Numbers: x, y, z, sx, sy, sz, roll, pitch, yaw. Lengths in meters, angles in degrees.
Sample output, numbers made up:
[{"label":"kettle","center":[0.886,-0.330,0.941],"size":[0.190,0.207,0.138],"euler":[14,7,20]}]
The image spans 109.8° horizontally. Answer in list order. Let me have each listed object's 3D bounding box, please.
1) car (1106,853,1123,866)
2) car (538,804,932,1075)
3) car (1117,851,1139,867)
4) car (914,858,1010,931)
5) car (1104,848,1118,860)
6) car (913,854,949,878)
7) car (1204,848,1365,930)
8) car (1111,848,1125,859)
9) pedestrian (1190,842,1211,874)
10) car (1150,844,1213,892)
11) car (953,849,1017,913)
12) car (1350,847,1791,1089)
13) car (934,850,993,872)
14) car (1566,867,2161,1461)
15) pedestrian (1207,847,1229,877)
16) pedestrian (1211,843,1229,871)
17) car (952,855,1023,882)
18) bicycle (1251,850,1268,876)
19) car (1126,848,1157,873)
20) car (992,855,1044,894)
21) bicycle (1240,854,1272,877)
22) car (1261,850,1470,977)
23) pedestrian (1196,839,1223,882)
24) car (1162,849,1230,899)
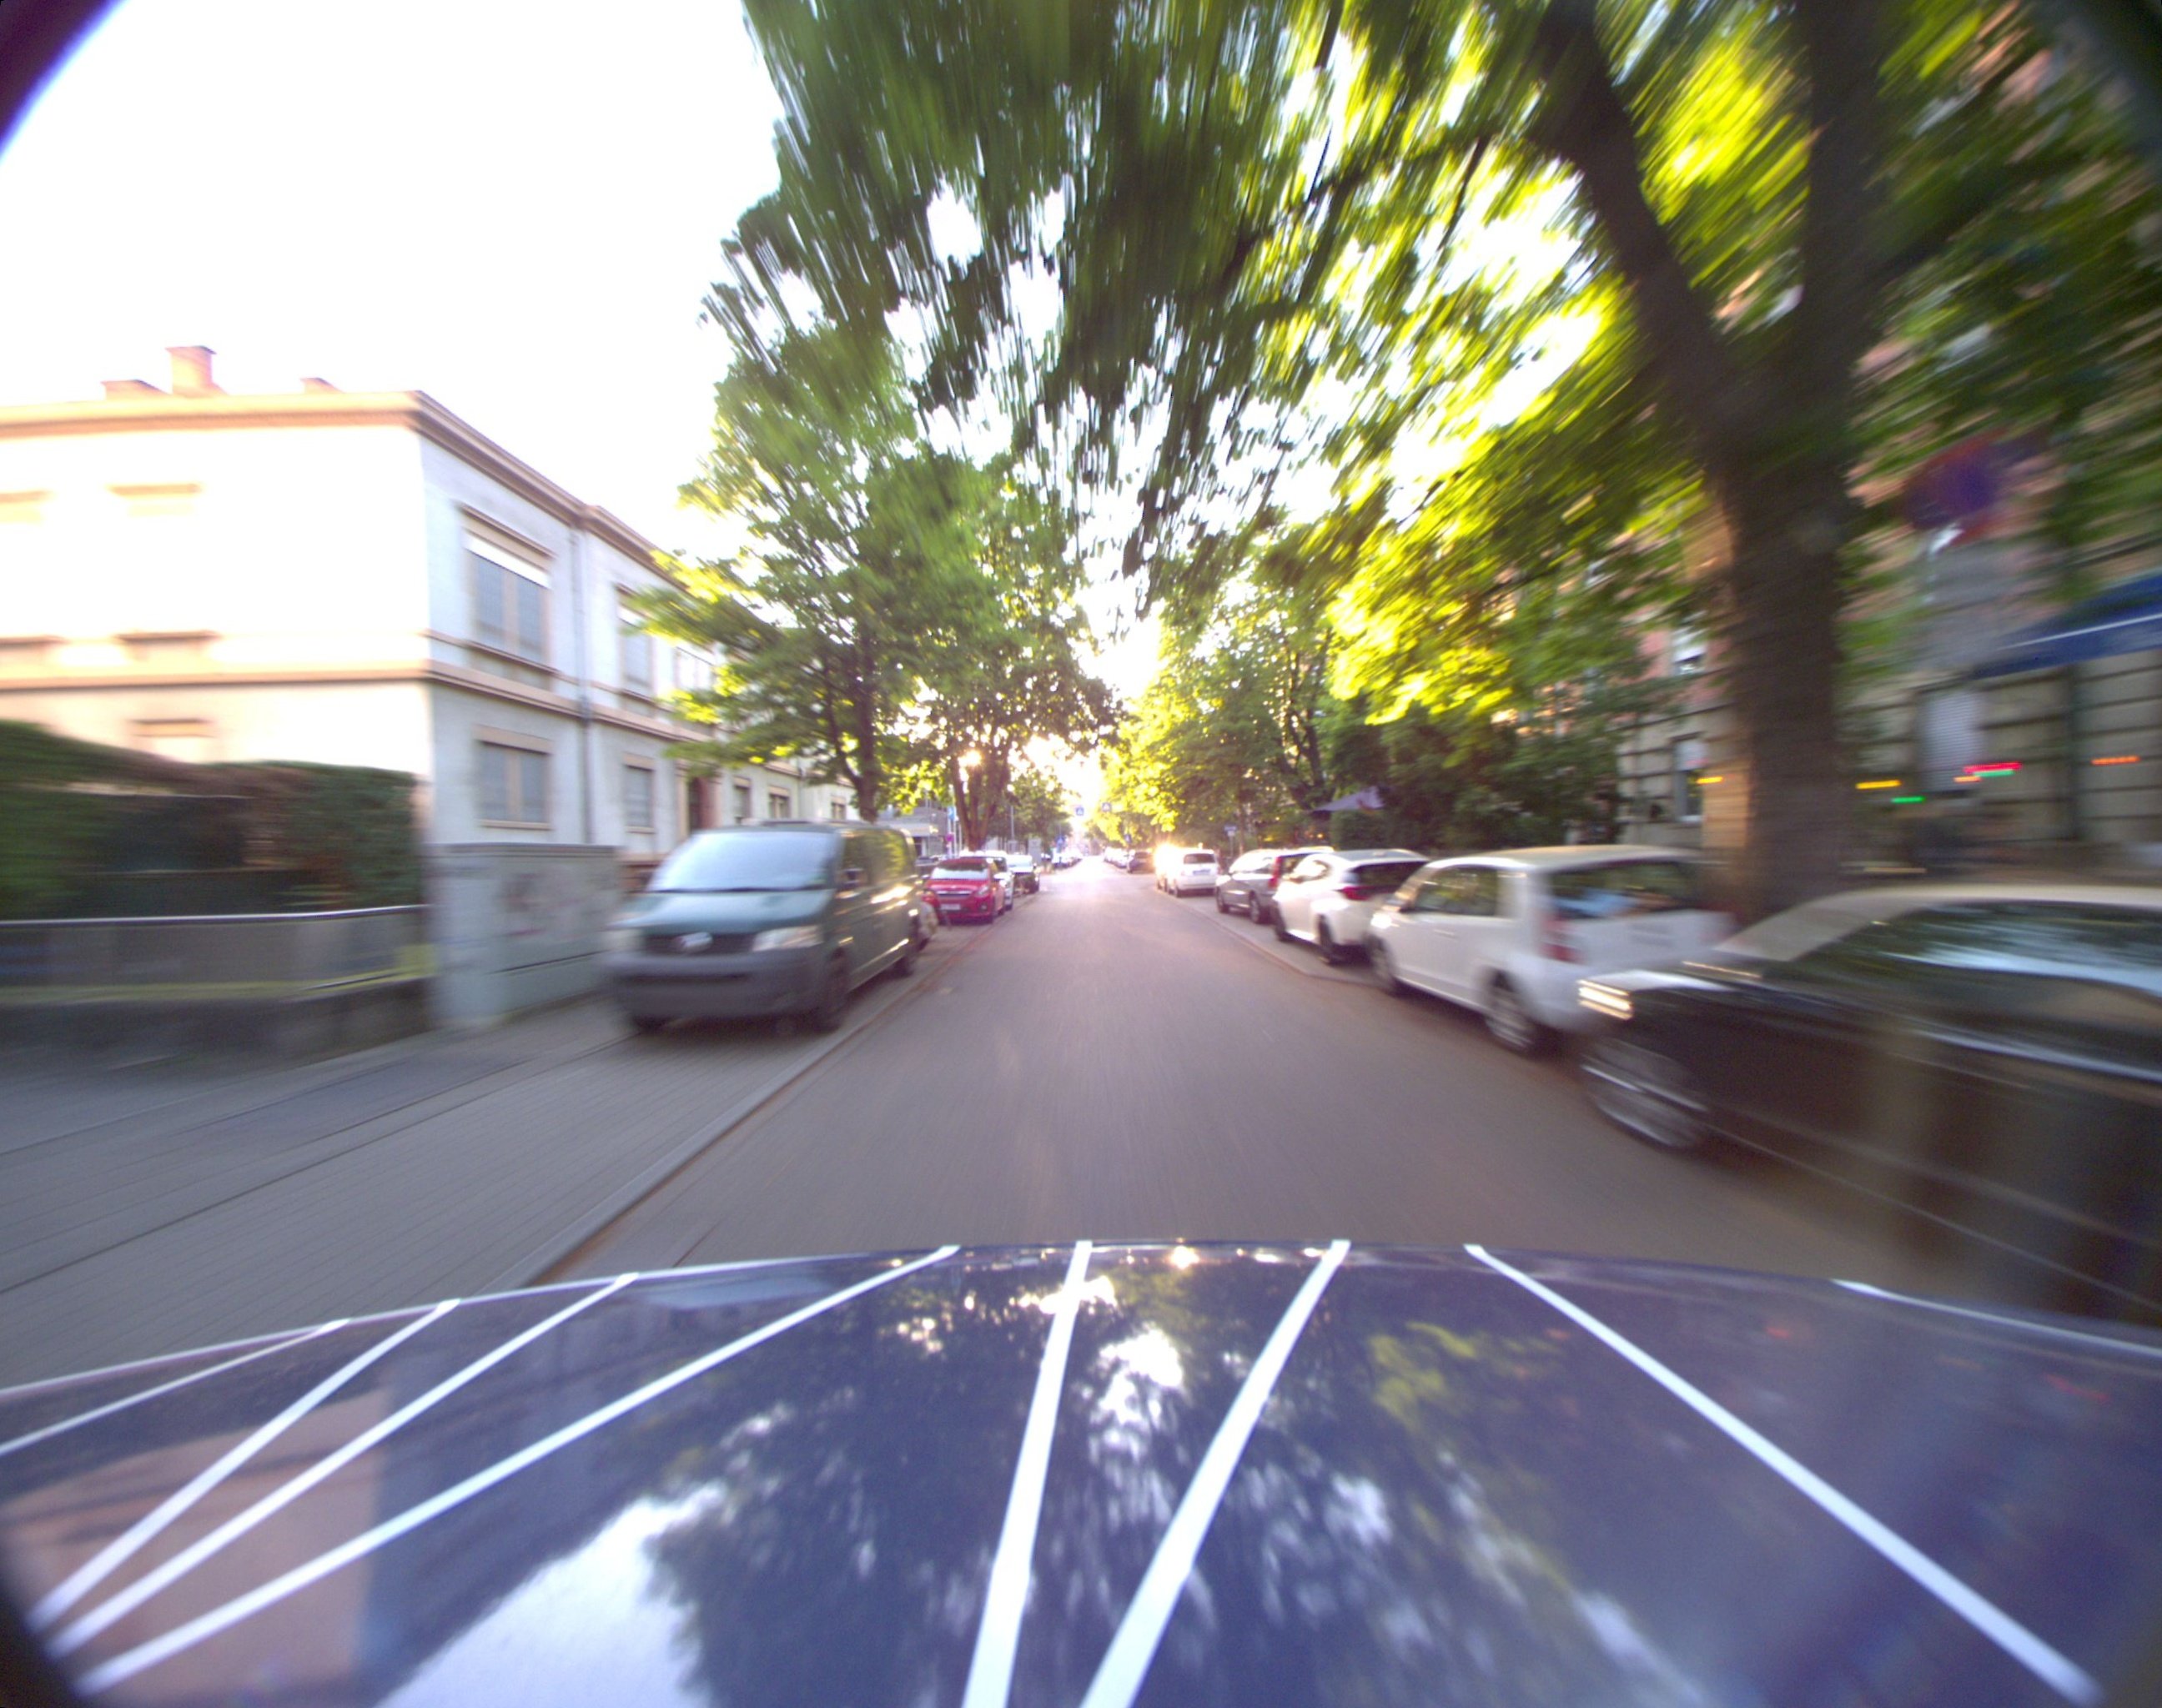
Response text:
[{"label":"car","center":[3.869,0.664,88.756],"size":[1.617,1.433,4.310],"euler":[-3,0,-1]},{"label":"car","center":[-3.131,0.666,8.242],"size":[1.959,2.047,4.831],"euler":[1,0,1]},{"label":"car","center":[4.560,0.517,73.955],"size":[1.617,1.433,3.753],"euler":[-4,0,-2]},{"label":"car","center":[-2.670,0.866,17.777],"size":[1.668,1.491,3.694],"euler":[1,0,0]},{"label":"car","center":[4.037,-0.006,102.468],"size":[1.617,1.433,4.104],"euler":[-3,0,-1]},{"label":"car","center":[-11.264,0.854,57.307],"size":[1.716,1.596,4.127],"euler":[-2,1,3]},{"label":"car","center":[4.184,0.659,16.486],"size":[1.845,1.403,4.598],"euler":[-4,0,-5]},{"label":"car","center":[5.200,-0.104,107.107],"size":[1.617,1.433,4.104],"euler":[-3,0,-1]},{"label":"pedestrian","center":[6.769,0.223,42.985],"size":[0.688,1.824,1.007],"euler":[-1,1,-25]},{"label":"car","center":[3.920,0.528,30.224],"size":[1.669,1.667,3.846],"euler":[-4,0,-3]},{"label":"car","center":[-2.803,0.733,22.331],"size":[1.669,1.669,4.117],"euler":[1,0,-7]},{"label":"car","center":[3.845,0.746,6.808],"size":[1.555,1.477,3.694],"euler":[-4,0,1]},{"label":"car","center":[-9.751,0.571,63.324],"size":[4.588,1.634,1.872],"euler":[-2,0,0]},{"label":"car","center":[3.555,0.819,2.468],"size":[1.555,1.477,3.693],"euler":[-1,0,-1]},{"label":"pedestrian","center":[7.539,0.409,41.943],"size":[0.688,1.621,1.051],"euler":[-1,1,-25]},{"label":"pedestrian","center":[9.360,0.210,51.279],"size":[0.925,1.814,0.779],"euler":[-3,4,-10]},{"label":"car","center":[-5.325,0.832,43.027],"size":[1.816,1.492,4.161],"euler":[-1,-1,-43]},{"label":"bicycle","center":[8.436,0.417,35.947],"size":[0.392,1.137,1.746],"euler":[-8,1,4]},{"label":"car","center":[4.412,0.470,55.937],"size":[1.871,1.678,4.592],"euler":[-2,0,0]},{"label":"car","center":[-2.602,0.823,32.191],"size":[1.735,1.547,3.963],"euler":[1,0,2]},{"label":"bicycle","center":[8.441,0.554,36.543],"size":[1.832,1.092,0.391],"euler":[-1,-1,-38]},{"label":"car","center":[3.899,0.723,11.132],"size":[1.607,1.427,3.885],"euler":[-4,0,1]},{"label":"pedestrian","center":[6.128,0.313,36.159],"size":[0.869,2.002,1.008],"euler":[-1,1,-19]},{"label":"car","center":[3.852,0.645,25.989],"size":[1.668,1.484,3.710],"euler":[-4,0,0]}]
